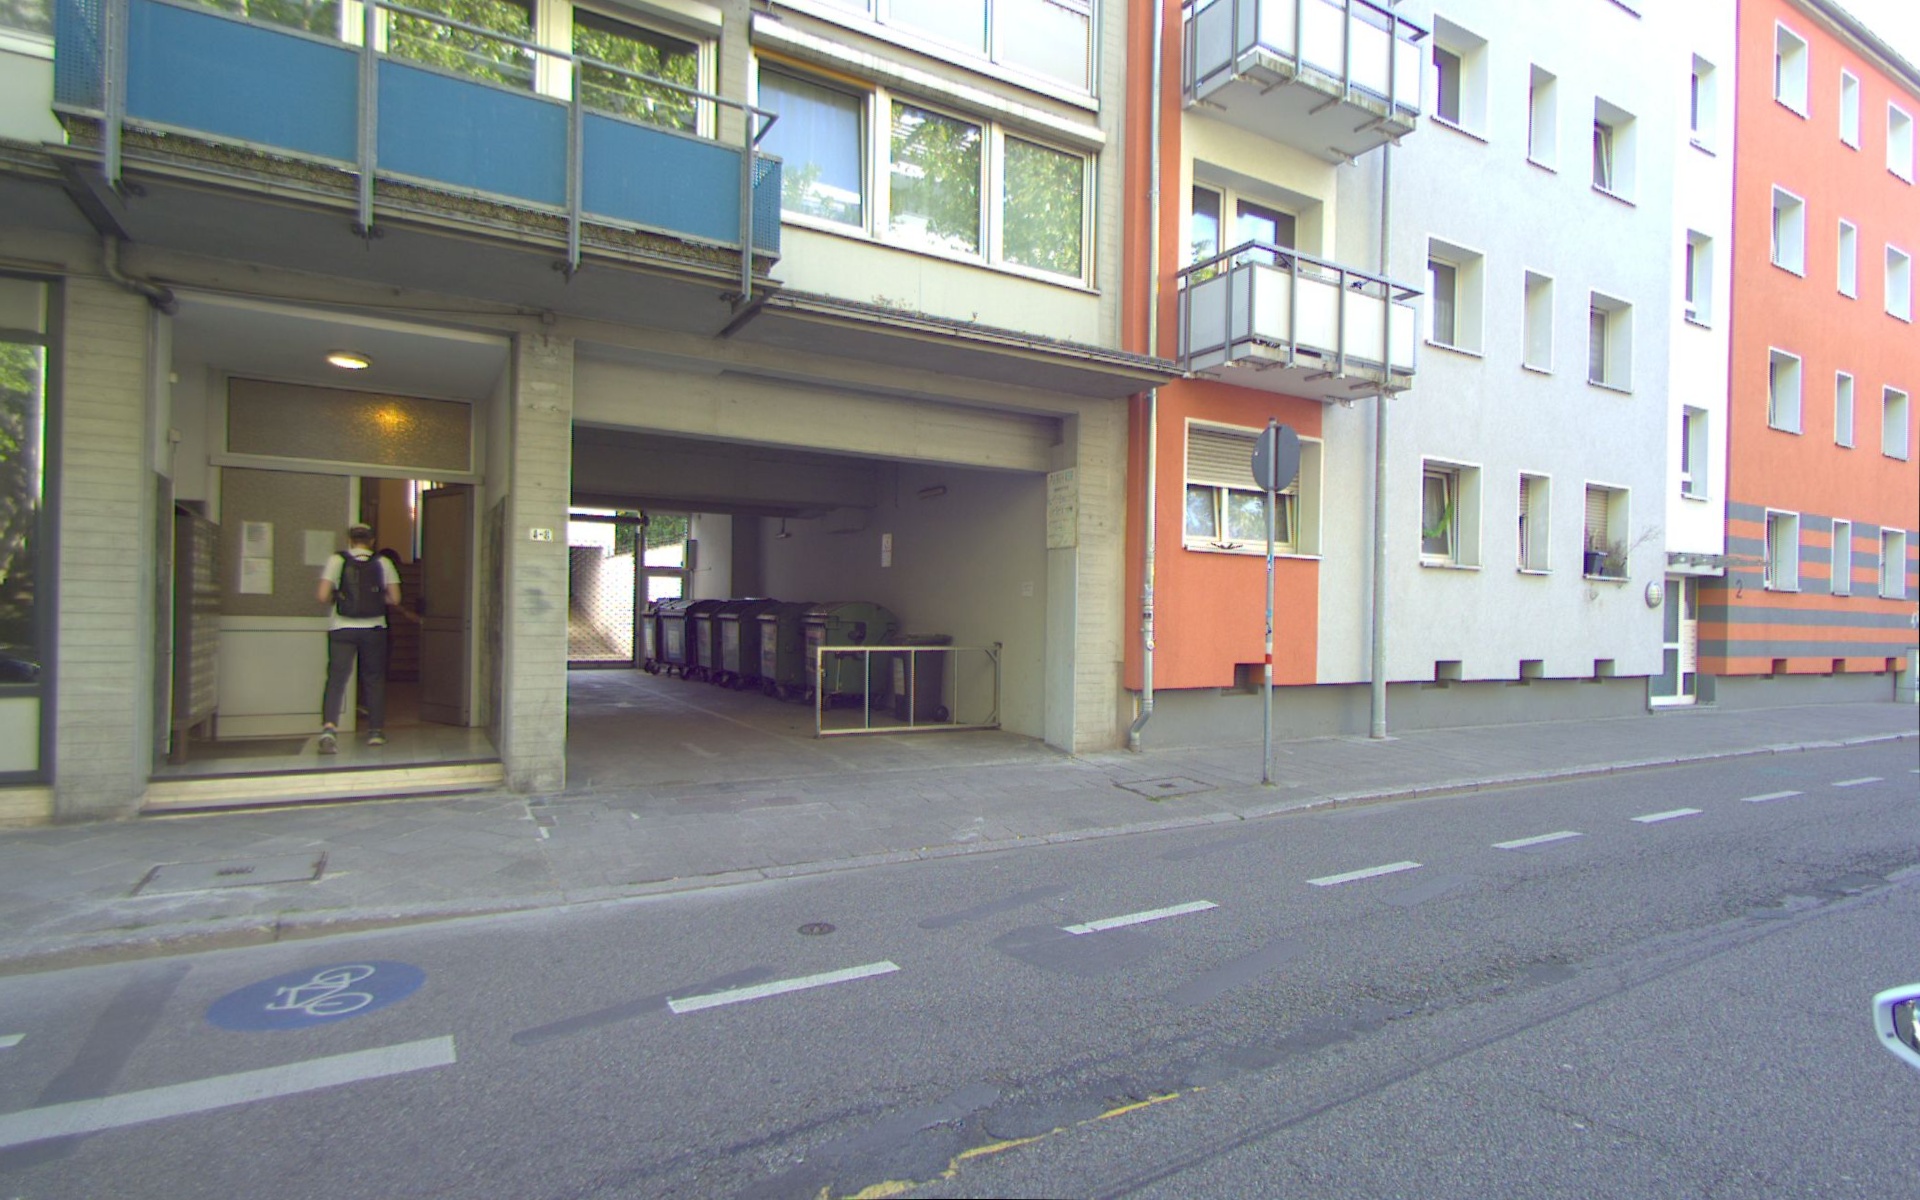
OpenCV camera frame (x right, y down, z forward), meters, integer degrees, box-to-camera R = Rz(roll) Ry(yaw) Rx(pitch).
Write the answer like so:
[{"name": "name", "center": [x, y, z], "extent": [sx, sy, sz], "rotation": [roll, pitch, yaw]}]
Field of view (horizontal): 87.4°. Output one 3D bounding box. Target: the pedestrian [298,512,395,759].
[{"name": "pedestrian", "center": [-4.808, 0.257, 7.914], "extent": [0.594, 1.824, 0.872], "rotation": [1, 1, -30]}]

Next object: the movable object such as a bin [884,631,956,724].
[{"name": "movable object such as a bin", "center": [-0.501, 0.942, 12.459], "extent": [0.687, 1.094, 0.579], "rotation": [1, 0, -30]}]

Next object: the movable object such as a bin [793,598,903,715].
[{"name": "movable object such as a bin", "center": [-1.550, 0.741, 13.753], "extent": [1.086, 1.503, 1.251], "rotation": [1, 0, -30]}]

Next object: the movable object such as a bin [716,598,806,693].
[{"name": "movable object such as a bin", "center": [-3.308, 0.725, 16.638], "extent": [1.167, 1.503, 1.073], "rotation": [1, 0, -30]}]

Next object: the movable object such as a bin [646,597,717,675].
[{"name": "movable object such as a bin", "center": [-5.526, 0.705, 19.906], "extent": [1.167, 1.503, 0.819], "rotation": [1, 0, -30]}]

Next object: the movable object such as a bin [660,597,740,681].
[{"name": "movable object such as a bin", "center": [-4.854, 0.712, 18.717], "extent": [1.167, 1.503, 1.215], "rotation": [1, 0, -30]}]

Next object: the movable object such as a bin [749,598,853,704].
[{"name": "movable object such as a bin", "center": [-2.408, 0.732, 15.153], "extent": [1.167, 1.503, 1.252], "rotation": [1, 0, -30]}]

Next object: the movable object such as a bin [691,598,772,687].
[{"name": "movable object such as a bin", "center": [-4.017, 0.722, 17.607], "extent": [1.080, 1.503, 1.159], "rotation": [1, 0, -30]}]

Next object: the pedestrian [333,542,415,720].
[{"name": "pedestrian", "center": [-5.935, 0.310, 10.206], "extent": [0.653, 1.736, 0.545], "rotation": [1, 0, -26]}]
